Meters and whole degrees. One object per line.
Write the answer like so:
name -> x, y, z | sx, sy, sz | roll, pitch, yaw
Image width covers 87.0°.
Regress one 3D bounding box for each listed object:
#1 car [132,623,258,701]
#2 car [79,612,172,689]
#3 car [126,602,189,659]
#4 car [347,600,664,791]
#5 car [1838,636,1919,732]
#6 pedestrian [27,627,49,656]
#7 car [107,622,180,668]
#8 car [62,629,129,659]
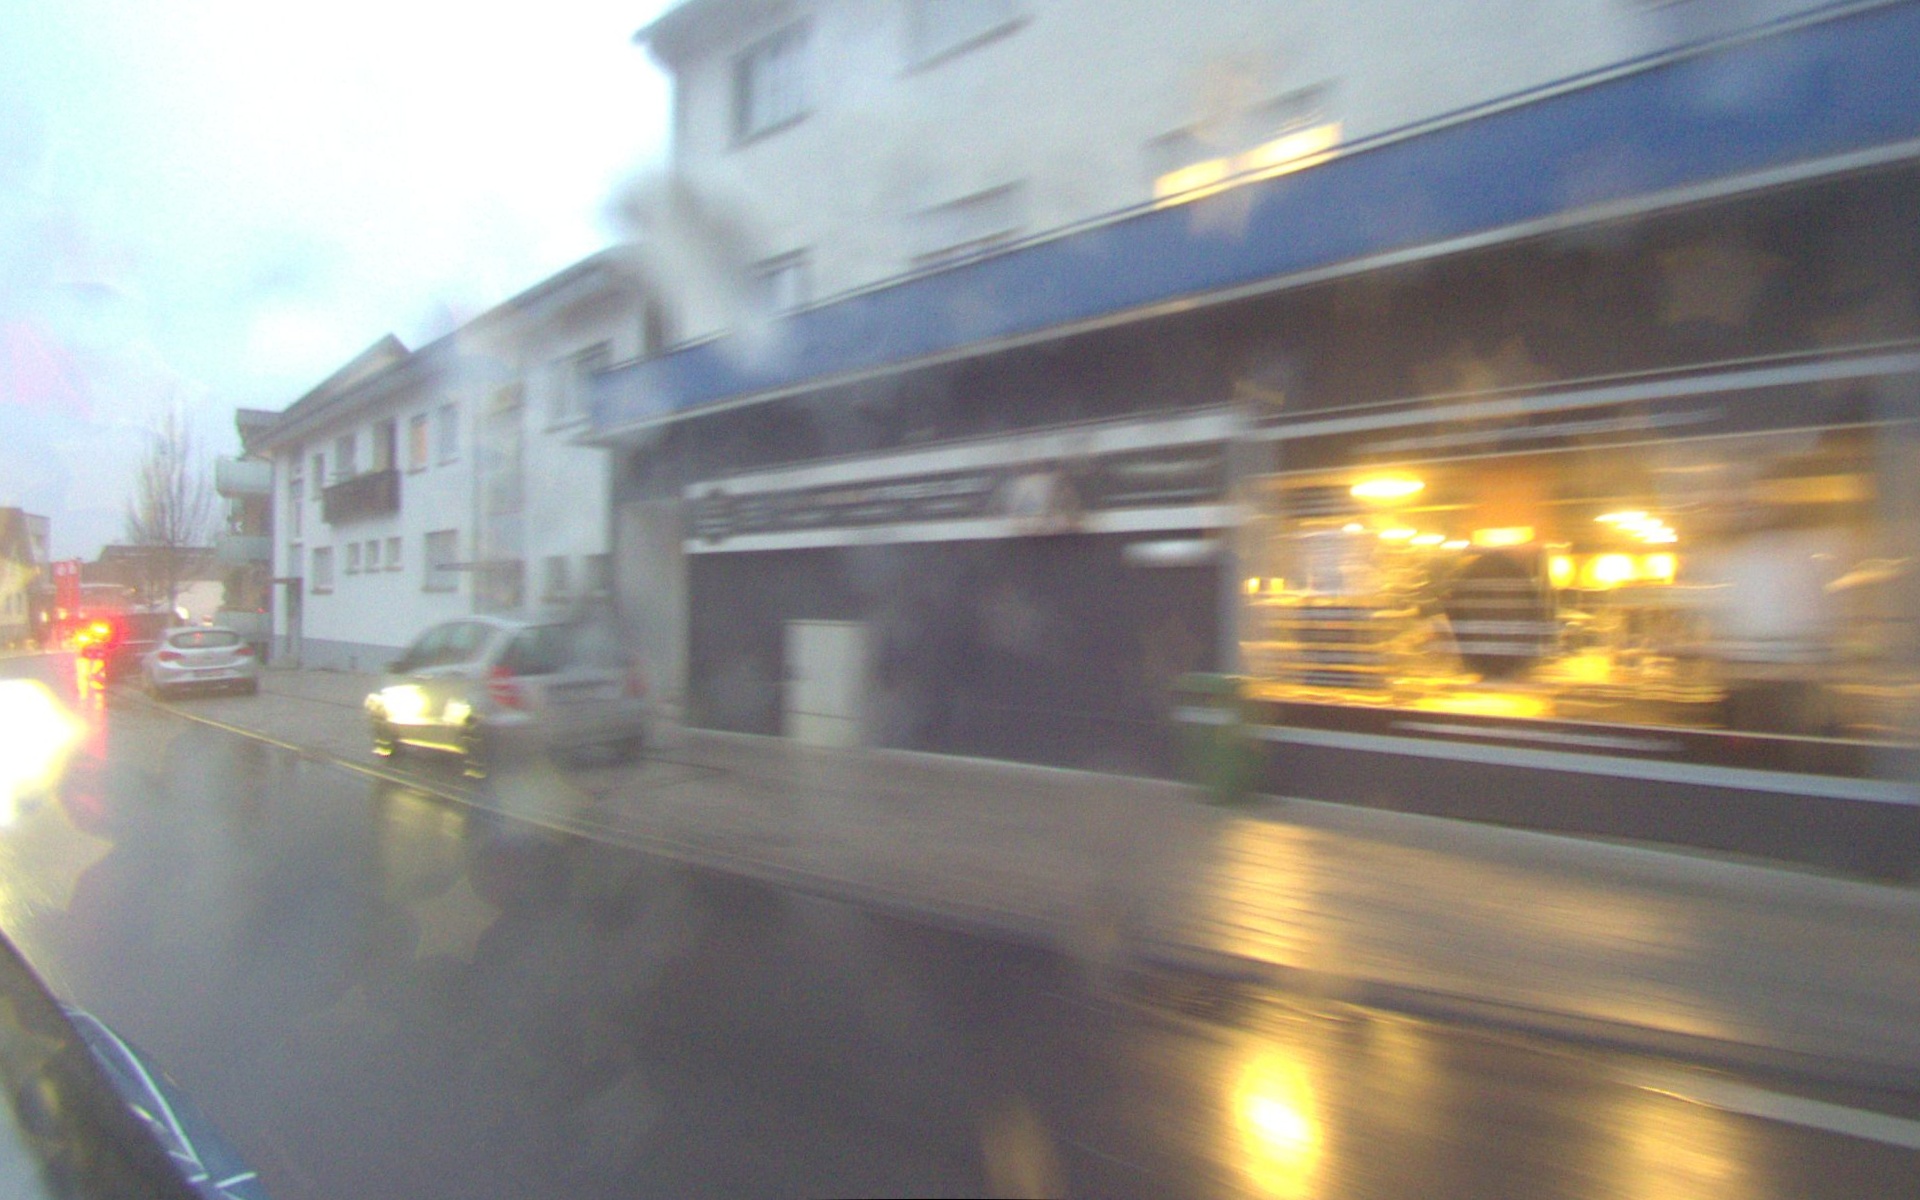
car -> -16.799, 1.277, 22.141 | 1.773, 1.467, 4.399 | -2, 0, -43
car -> -23.527, 1.383, 28.592 | 1.856, 1.914, 4.842 | -2, -1, -39
car -> -41.221, 1.552, 52.067 | 2.014, 2.679, 4.222 | -3, 0, -32
car -> -4.973, 0.883, 10.844 | 3.815, 1.626, 1.702 | -2, 1, 43
car -> 16.892, 1.276, 15.786 | 4.420, 1.475, 1.690 | -2, -3, 22
pedestrian -> -54.785, 2.458, 60.140 | 0.640, 1.674, 0.651 | 1, -4, -8
car -> -33.506, 1.804, 41.649 | 1.909, 1.682, 4.352 | -3, 0, -34
car -> -46.105, 2.309, 54.031 | 1.966, 1.511, 4.012 | 0, -1, -29
